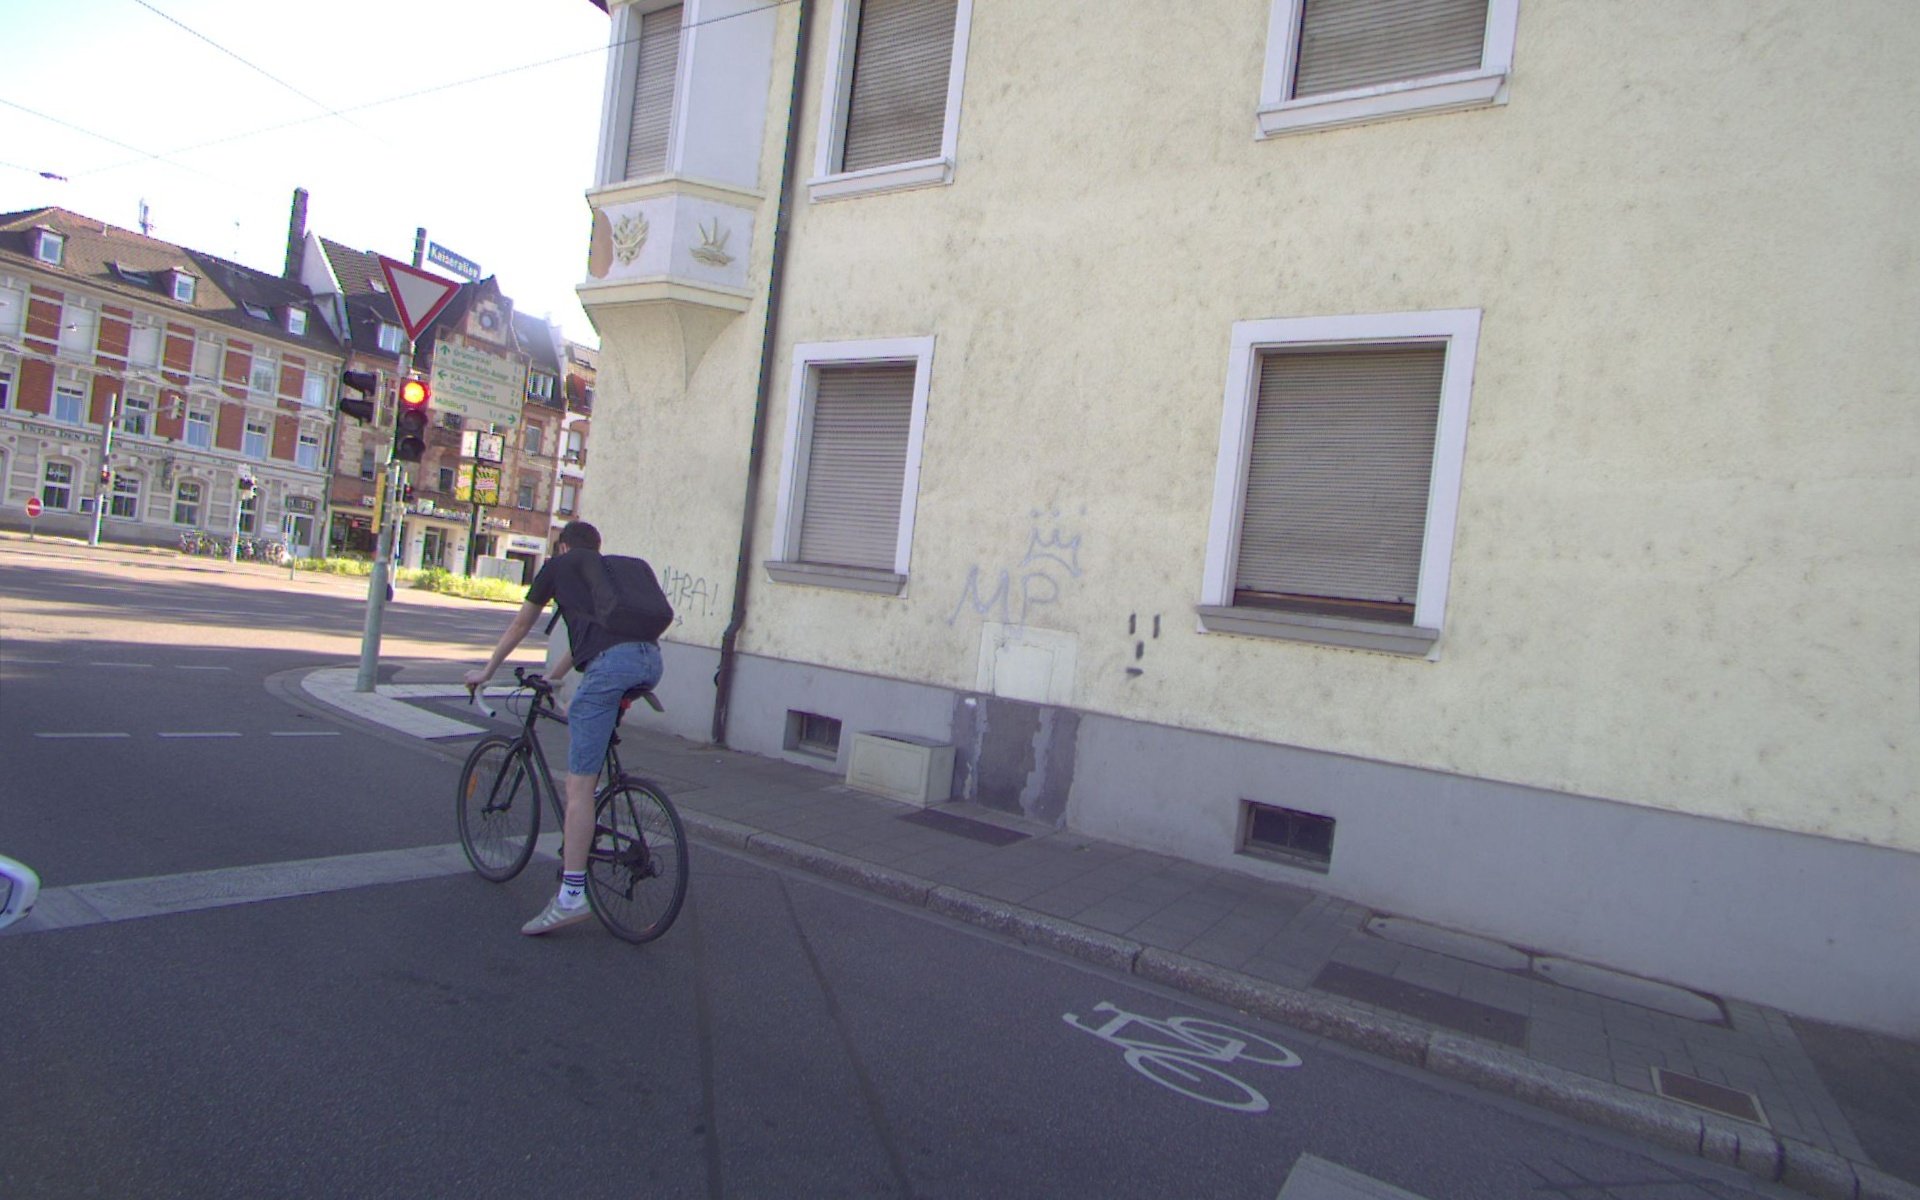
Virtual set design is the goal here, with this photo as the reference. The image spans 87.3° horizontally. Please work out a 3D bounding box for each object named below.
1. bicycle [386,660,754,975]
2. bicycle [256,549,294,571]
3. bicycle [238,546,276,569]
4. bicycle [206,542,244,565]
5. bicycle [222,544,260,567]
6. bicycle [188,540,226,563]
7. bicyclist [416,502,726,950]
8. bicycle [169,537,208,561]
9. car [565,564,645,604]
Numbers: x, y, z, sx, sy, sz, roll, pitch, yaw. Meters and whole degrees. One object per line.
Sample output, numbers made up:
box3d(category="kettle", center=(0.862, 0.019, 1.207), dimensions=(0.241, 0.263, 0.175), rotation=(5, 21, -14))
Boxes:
box3d(category="bicycle", center=(-1.791, 0.877, 4.507), dimensions=(1.721, 0.982, 0.519), rotation=(7, 0, 32))
box3d(category="bicycle", center=(-33.100, -1.943, 48.599), dimensions=(2.125, 0.850, 0.659), rotation=(6, -2, 33))
box3d(category="bicycle", center=(-33.488, -2.022, 47.894), dimensions=(2.125, 0.850, 0.659), rotation=(6, -2, 33))
box3d(category="bicycle", center=(-34.178, -2.158, 46.767), dimensions=(2.125, 0.850, 0.659), rotation=(6, -2, 33))
box3d(category="bicycle", center=(-33.844, -2.090, 47.364), dimensions=(2.125, 0.850, 0.659), rotation=(6, -2, 33))
box3d(category="bicycle", center=(-34.551, -2.231, 46.146), dimensions=(2.125, 0.850, 0.659), rotation=(6, -2, 33))
box3d(category="bicyclist", center=(-1.743, 0.493, 4.486), dimensions=(1.098, 1.722, 0.573), rotation=(7, 0, 32))
box3d(category="bicycle", center=(-34.867, -2.300, 45.479), dimensions=(2.125, 0.850, 0.659), rotation=(6, -2, 33))
box3d(category="car", center=(-23.009, -1.000, 65.325), dimensions=(1.968, 2.038, 4.430), rotation=(7, -1, 34))
